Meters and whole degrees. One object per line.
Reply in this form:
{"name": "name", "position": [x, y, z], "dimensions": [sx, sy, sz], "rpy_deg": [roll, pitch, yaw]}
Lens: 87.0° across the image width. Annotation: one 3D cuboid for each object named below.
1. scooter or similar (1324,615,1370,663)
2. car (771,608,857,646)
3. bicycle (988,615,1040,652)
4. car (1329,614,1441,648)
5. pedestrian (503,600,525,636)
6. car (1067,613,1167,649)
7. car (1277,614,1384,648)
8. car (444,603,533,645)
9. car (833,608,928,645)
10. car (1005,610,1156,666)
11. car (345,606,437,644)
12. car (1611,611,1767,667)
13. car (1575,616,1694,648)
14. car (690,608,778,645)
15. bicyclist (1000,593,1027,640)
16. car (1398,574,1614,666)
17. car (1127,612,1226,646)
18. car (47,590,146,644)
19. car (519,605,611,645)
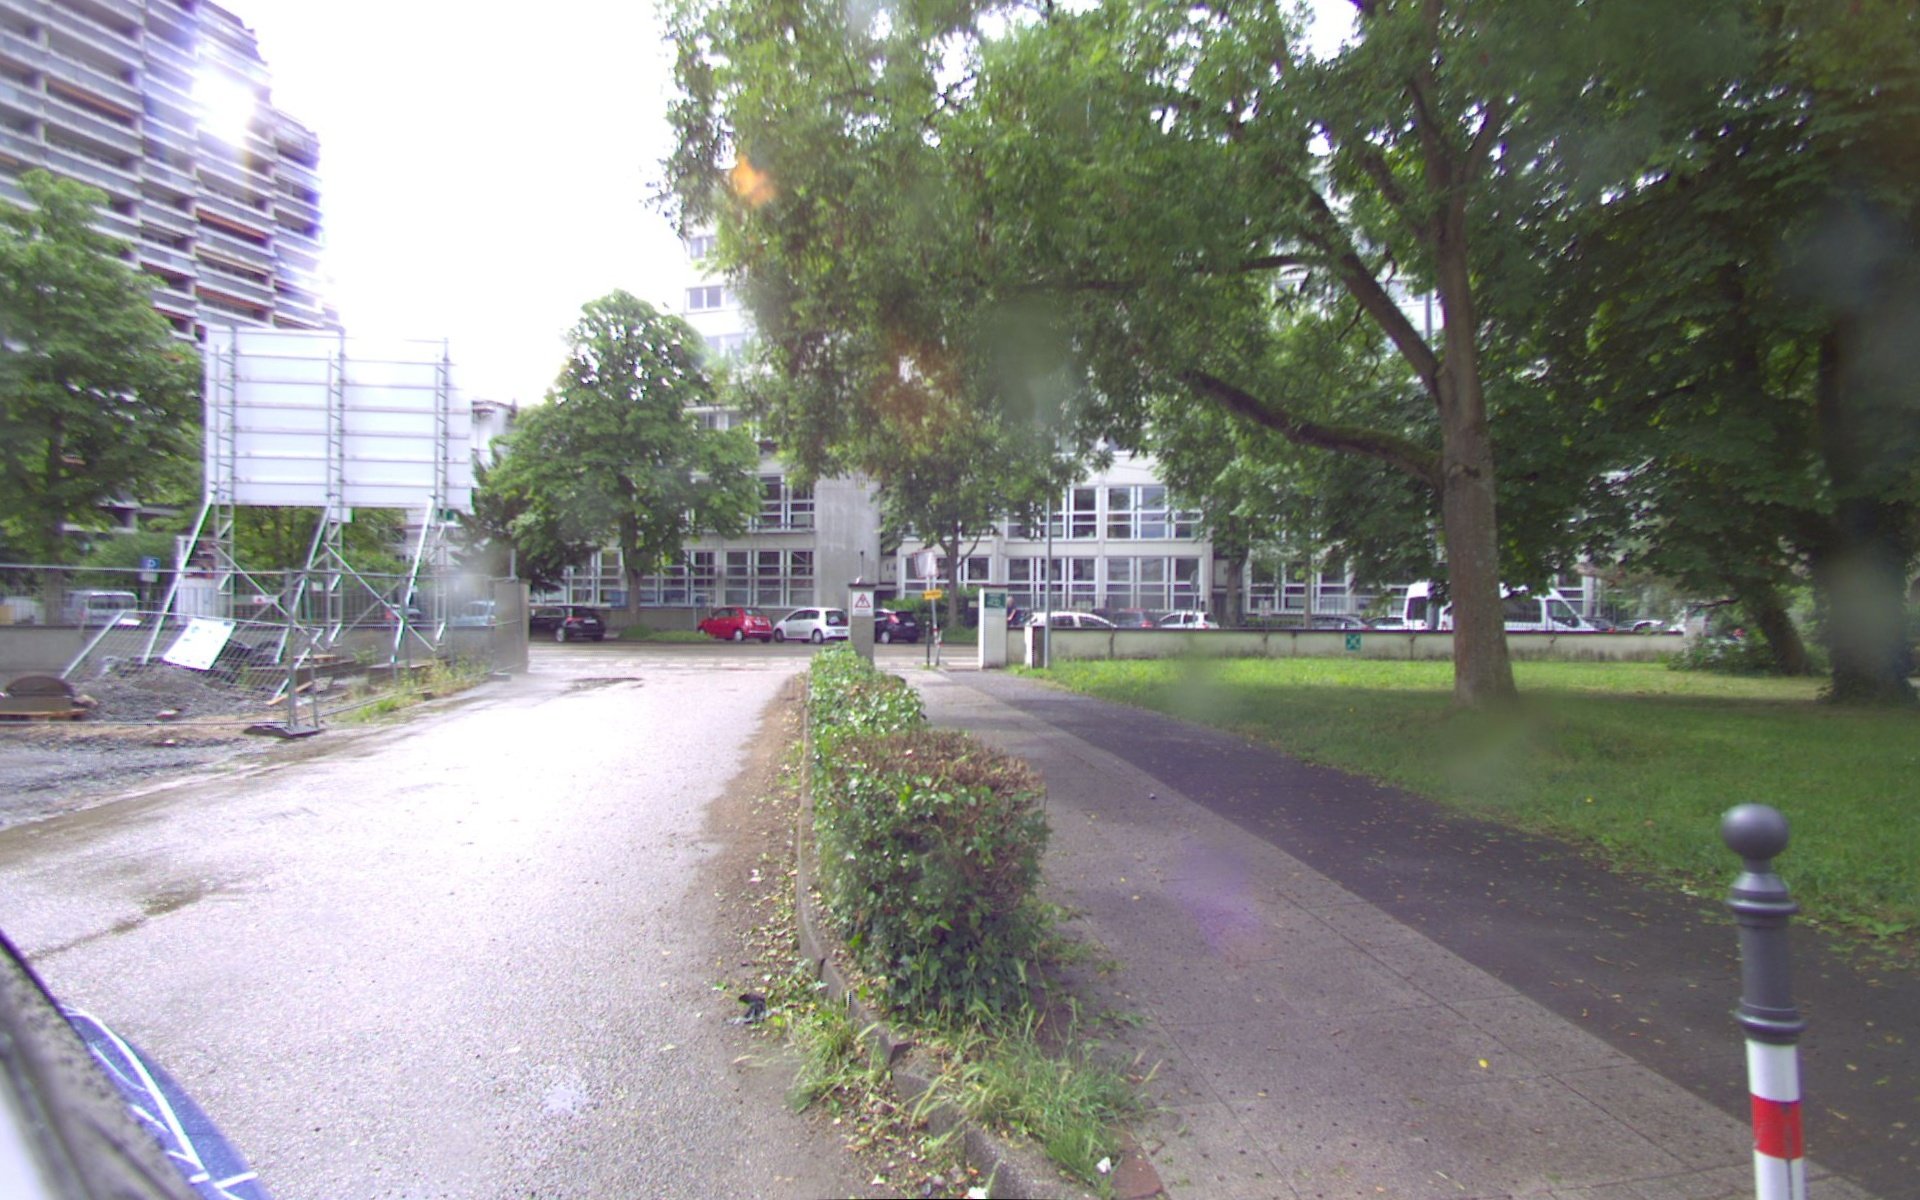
{"name": "scooter or similar", "position": [10.892, 1.096, 28.534], "dimensions": [0.419, 1.286, 1.151], "rpy_deg": [3, -2, -34]}
{"name": "car", "position": [-6.054, 1.083, 41.738], "dimensions": [3.405, 1.463, 1.688], "rpy_deg": [0, -1, 40]}
{"name": "bicycle", "position": [1.875, 1.158, 35.214], "dimensions": [1.839, 1.276, 0.646], "rpy_deg": [1, -3, -40]}
{"name": "car", "position": [19.357, 1.411, 46.169], "dimensions": [4.387, 1.464, 1.862], "rpy_deg": [-2, -2, 37]}
{"name": "pedestrian", "position": [-21.806, 0.890, 49.443], "dimensions": [0.839, 1.756, 0.698], "rpy_deg": [-3, -3, 40]}
{"name": "car", "position": [6.762, 1.350, 43.733], "dimensions": [3.874, 1.465, 1.800], "rpy_deg": [-2, -3, 36]}
{"name": "car", "position": [16.630, 1.414, 45.501], "dimensions": [4.200, 1.464, 1.791], "rpy_deg": [-2, -2, 37]}
{"name": "car", "position": [-18.531, 0.923, 39.754], "dimensions": [3.644, 1.563, 1.687], "rpy_deg": [0, -1, 38]}
{"name": "car", "position": [-3.392, 1.130, 42.682], "dimensions": [3.979, 1.492, 1.790], "rpy_deg": [-2, -2, 43]}
{"name": "car", "position": [3.261, 1.042, 27.687], "dimensions": [3.771, 1.471, 1.693], "rpy_deg": [1, -2, -9]}
{"name": "car", "position": [-22.362, 0.962, 39.721], "dimensions": [3.641, 1.408, 1.749], "rpy_deg": [0, -1, 35]}
{"name": "car", "position": [21.720, 1.160, 30.239], "dimensions": [3.317, 1.562, 1.917], "rpy_deg": [1, -2, -7]}
{"name": "car", "position": [32.176, 1.548, 48.335], "dimensions": [4.442, 1.464, 1.878], "rpy_deg": [-3, -3, 44]}
{"name": "car", "position": [-9.345, 1.082, 41.770], "dimensions": [3.402, 1.480, 1.720], "rpy_deg": [0, -2, 37]}
{"name": "bicyclist", "position": [1.856, 0.585, 35.214], "dimensions": [0.663, 1.630, 0.646], "rpy_deg": [1, -3, -41]}
{"name": "car", "position": [15.703, 0.617, 29.256], "dimensions": [5.189, 2.529, 2.144], "rpy_deg": [1, -2, -9]}
{"name": "car", "position": [9.566, 1.304, 44.808], "dimensions": [3.874, 1.465, 1.756], "rpy_deg": [-2, -3, 36]}
{"name": "car", "position": [-32.354, 0.609, 37.881], "dimensions": [4.639, 1.911, 1.913], "rpy_deg": [0, -1, 38]}
{"name": "car", "position": [-15.642, 0.964, 40.049], "dimensions": [3.643, 1.480, 1.720], "rpy_deg": [0, -1, 37]}
